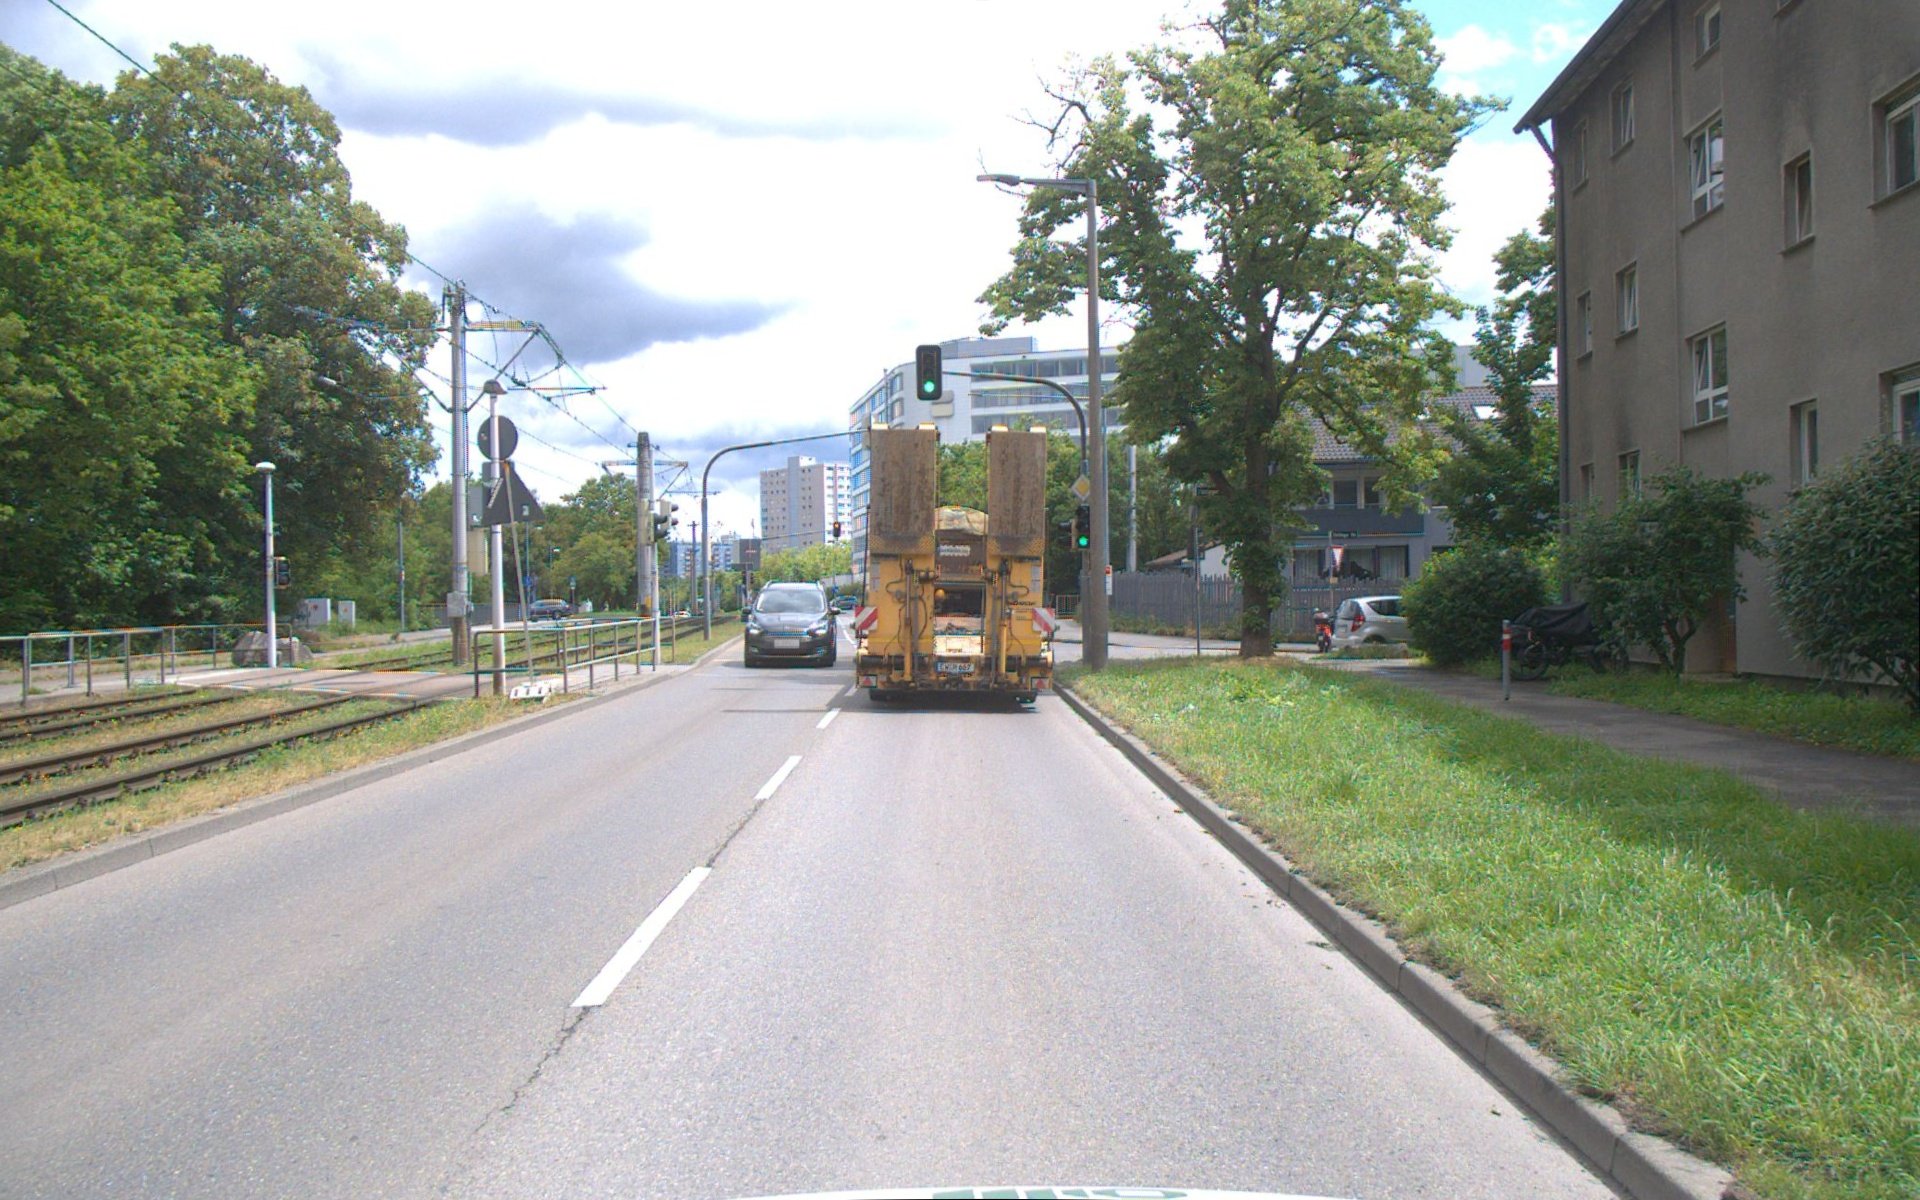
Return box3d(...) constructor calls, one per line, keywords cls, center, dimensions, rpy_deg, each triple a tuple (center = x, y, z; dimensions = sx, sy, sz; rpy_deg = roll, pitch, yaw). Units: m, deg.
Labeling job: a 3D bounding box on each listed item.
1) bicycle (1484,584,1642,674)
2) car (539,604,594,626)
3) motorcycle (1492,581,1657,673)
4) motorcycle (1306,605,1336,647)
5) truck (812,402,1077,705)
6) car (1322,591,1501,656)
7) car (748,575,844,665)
box3d(cls="bicycle", center=(9.112, 0.438, 25.053), dimensions=(2.121, 1.305, 0.681), rpy_deg=(-1, -1, 7))
box3d(cls="car", center=(-29.592, 1.148, 124.540), dimensions=(3.915, 1.579, 1.995), rpy_deg=(1, 0, -11))
box3d(cls="motorcycle", center=(9.018, 0.402, 24.345), dimensions=(2.157, 1.305, 0.681), rpy_deg=(-1, -1, 7))
box3d(cls="motorcycle", center=(10.375, 0.733, 47.479), dimensions=(0.645, 1.169, 2.426), rpy_deg=(1, 0, 17))
box3d(cls="truck", center=(-0.419, -0.542, 26.632), dimensions=(3.249, 3.715, 12.556), rpy_deg=(0, 0, -2))
box3d(cls="car", center=(11.352, 0.571, 41.726), dimensions=(3.913, 1.581, 1.935), rpy_deg=(0, 0, -9))
box3d(cls="car", center=(-3.293, 0.377, 33.832), dimensions=(1.673, 1.705, 4.226), rpy_deg=(1, 0, -2))
